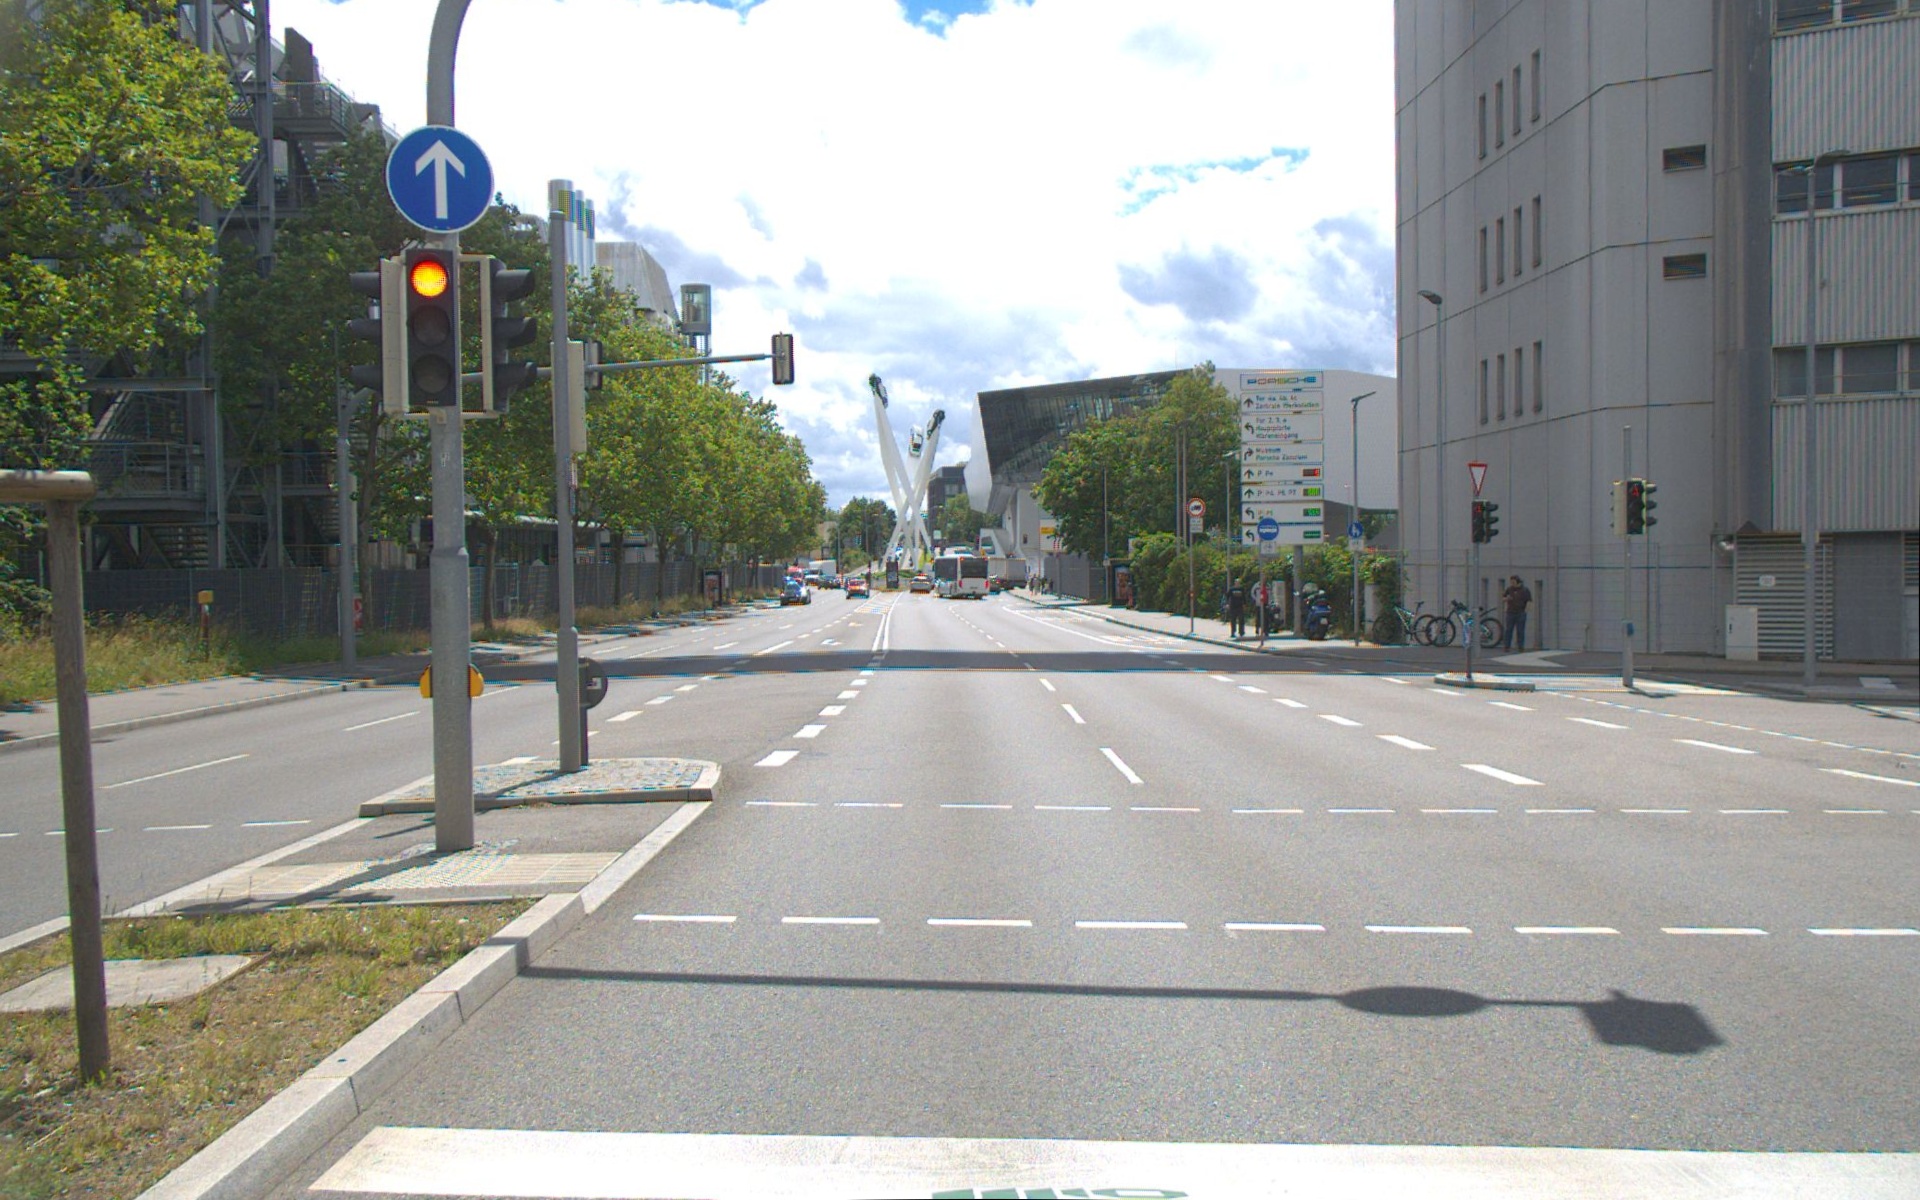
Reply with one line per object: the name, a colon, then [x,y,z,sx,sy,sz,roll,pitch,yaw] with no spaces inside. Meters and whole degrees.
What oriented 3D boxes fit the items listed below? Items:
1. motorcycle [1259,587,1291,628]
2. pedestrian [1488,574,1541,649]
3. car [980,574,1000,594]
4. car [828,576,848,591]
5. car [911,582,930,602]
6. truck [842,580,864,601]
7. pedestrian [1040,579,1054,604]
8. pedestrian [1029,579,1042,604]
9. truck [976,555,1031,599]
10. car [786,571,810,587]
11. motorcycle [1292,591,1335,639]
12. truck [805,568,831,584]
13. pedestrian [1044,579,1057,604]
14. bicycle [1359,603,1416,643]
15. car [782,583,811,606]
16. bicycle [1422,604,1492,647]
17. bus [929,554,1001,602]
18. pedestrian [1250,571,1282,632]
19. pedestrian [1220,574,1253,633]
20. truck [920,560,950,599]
motorcycle: [10.062,0.234,52.886,0.562,1.224,2.024,-2,1,-1]
pedestrian: [12.487,0.253,37.242,0.834,1.653,0.951,0,0,40]
car: [2.683,-1.401,149.509,1.703,1.772,3.691,0,0,-1]
car: [-13.577,-1.870,183.627,1.786,1.564,3.668,-2,0,-11]
car: [-3.546,-0.730,148.699,1.703,1.772,3.691,0,0,-1]
truck: [-8.335,-0.721,128.200,1.553,1.564,3.673,0,0,-6]
pedestrian: [7.307,-0.713,138.953,1.008,2.049,0.883,1,-1,-5]
pedestrian: [6.307,-0.747,137.884,1.008,2.049,0.883,1,-1,-5]
truck: [4.571,-2.367,171.732,3.379,4.468,9.426,0,0,17]
car: [-20.015,-2.584,204.512,1.951,2.049,4.003,0,0,8]
motorcycle: [9.616,0.381,45.019,0.692,1.224,2.024,-2,1,-1]
truck: [-18.975,-3.190,220.836,1.723,2.049,4.443,0,0,22]
pedestrian: [7.550,-0.727,137.859,1.008,2.049,0.883,1,-1,-5]
bicycle: [10.613,0.551,41.112,0.391,0.953,1.917,0,0,-19]
car: [-11.419,-0.381,115.730,1.782,1.564,3.677,-2,0,-2]
bicycle: [11.647,0.584,38.841,0.392,0.953,1.912,0,0,-26]
bus: [0.289,-1.670,129.390,3.392,3.605,10.572,0,0,-13]
pedestrian: [9.008,0.046,48.677,0.803,1.772,0.637,0,0,-1]
pedestrian: [8.159,0.106,48.776,0.803,1.737,0.881,0,0,-1]
truck: [-2.552,-2.115,172.081,2.341,3.965,6.181,0,0,6]
